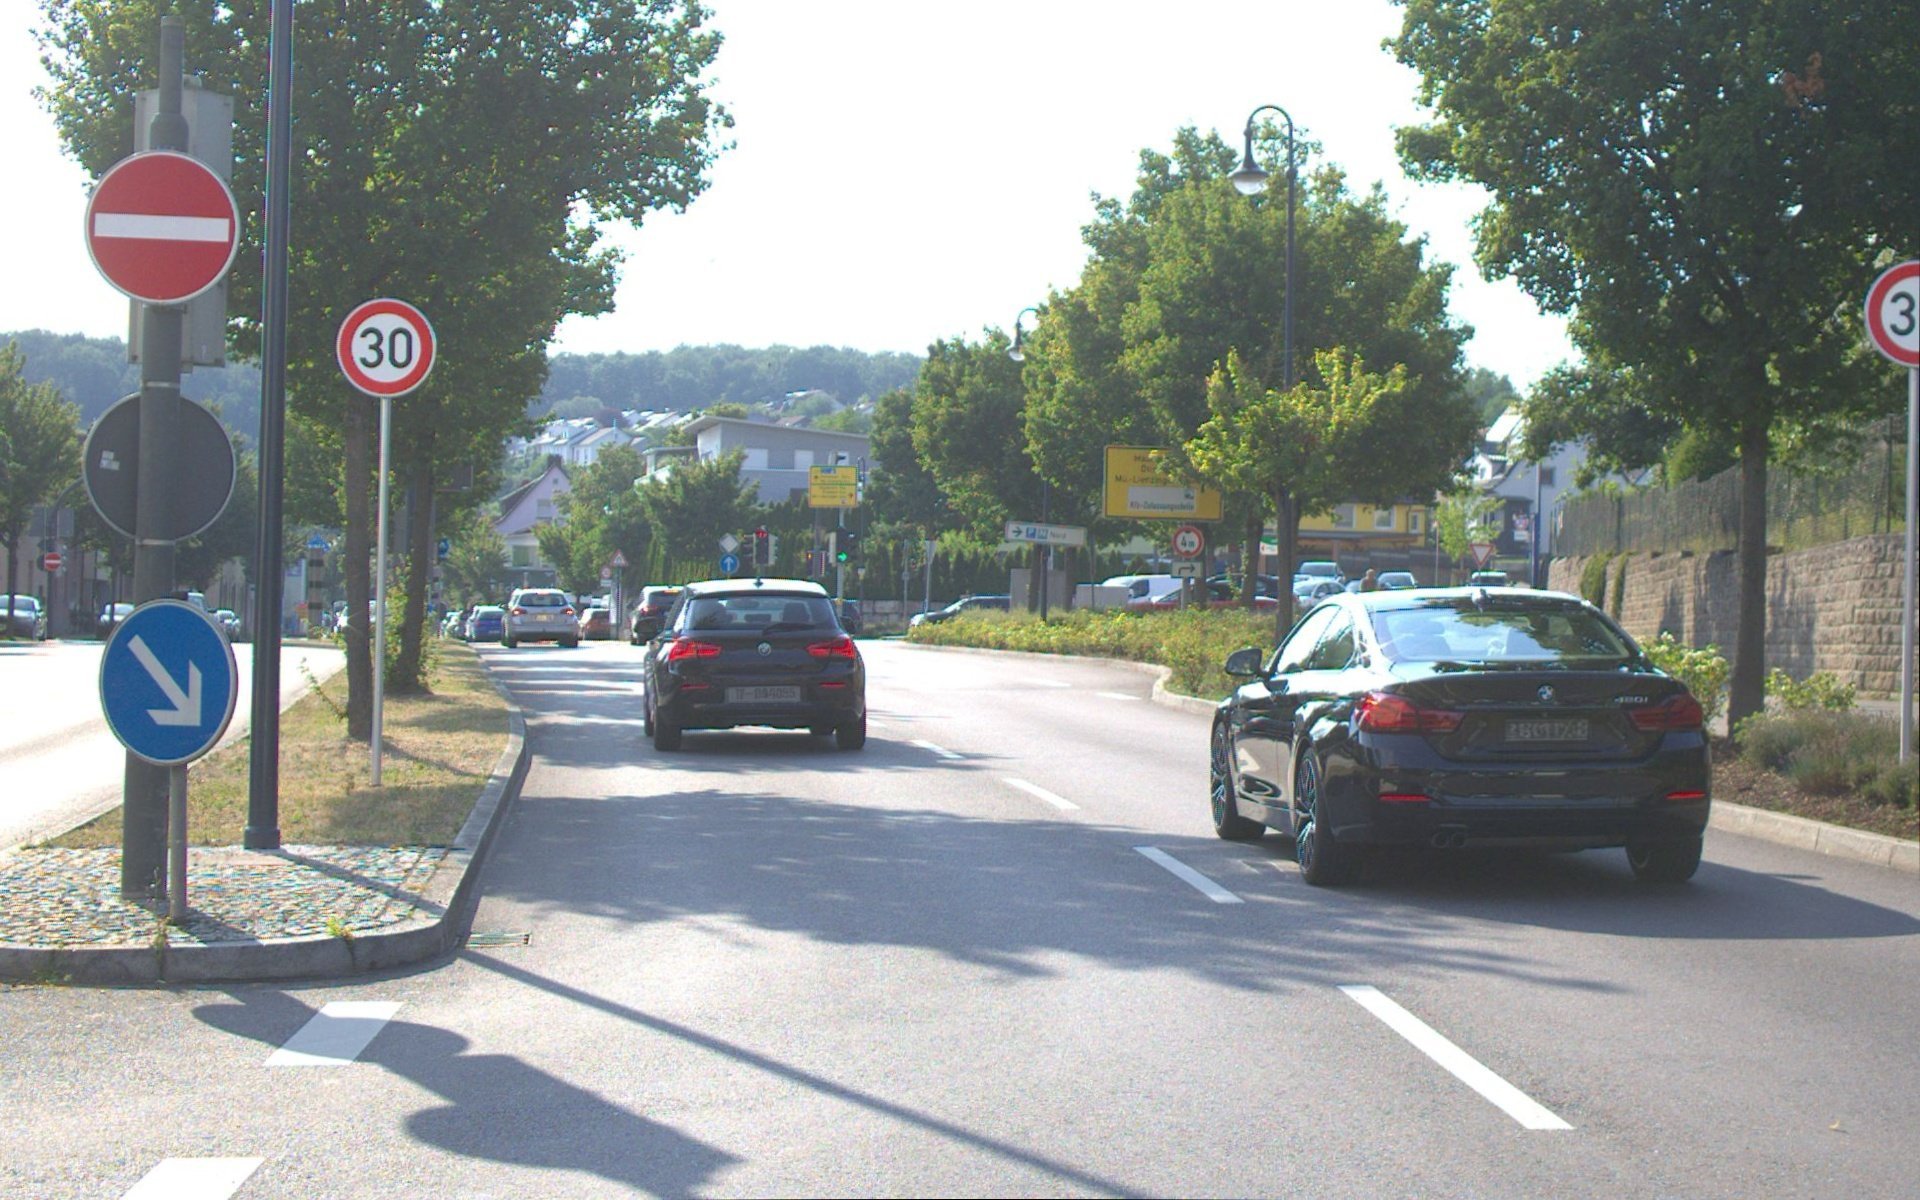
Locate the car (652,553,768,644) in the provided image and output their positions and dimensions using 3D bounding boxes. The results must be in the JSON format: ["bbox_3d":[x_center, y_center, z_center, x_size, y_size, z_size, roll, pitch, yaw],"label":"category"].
[{"bbox_3d":[-4.999,-0.038,68.262,1.924,1.763,4.455,0,0,-9],"label":"car"}]

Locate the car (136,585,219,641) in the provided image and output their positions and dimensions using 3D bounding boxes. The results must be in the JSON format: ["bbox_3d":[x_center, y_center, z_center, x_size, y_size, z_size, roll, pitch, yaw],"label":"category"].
[{"bbox_3d":[-19.312,0.301,84.964,1.755,1.356,4.486,0,0,-10],"label":"car"}]

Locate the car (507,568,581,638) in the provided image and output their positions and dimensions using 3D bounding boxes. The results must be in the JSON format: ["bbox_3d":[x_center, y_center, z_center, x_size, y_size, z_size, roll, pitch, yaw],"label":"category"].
[{"bbox_3d":[-10.737,0.074,88.516,1.755,1.763,3.972,0,0,-9],"label":"car"}]

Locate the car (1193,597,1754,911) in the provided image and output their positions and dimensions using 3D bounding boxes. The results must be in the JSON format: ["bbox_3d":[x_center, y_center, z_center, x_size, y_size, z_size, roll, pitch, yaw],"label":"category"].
[{"bbox_3d":[2.381,0.668,17.117,1.920,1.359,4.353,0,0,-3],"label":"car"}]

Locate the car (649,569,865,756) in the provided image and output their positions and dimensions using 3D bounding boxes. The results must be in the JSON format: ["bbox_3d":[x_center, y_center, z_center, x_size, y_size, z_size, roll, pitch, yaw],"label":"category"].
[{"bbox_3d":[-1.699,0.493,29.929,1.721,1.485,4.353,1,0,-1],"label":"car"}]

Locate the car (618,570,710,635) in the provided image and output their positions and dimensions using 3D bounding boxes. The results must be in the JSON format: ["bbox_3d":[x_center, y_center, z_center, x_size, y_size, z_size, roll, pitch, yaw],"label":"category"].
[{"bbox_3d":[-8.213,0.057,95.064,2.216,1.763,4.455,0,0,-9],"label":"car"}]

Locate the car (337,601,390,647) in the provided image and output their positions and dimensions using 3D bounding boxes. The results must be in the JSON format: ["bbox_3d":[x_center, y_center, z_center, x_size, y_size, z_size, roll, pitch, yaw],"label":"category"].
[{"bbox_3d":[-22.294,0.878,128.563,1.729,1.673,4.001,0,0,-7],"label":"car"}]

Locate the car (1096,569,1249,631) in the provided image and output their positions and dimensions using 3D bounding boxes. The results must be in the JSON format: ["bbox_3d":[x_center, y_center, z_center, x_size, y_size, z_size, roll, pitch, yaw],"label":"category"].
[{"bbox_3d":[7.514,-0.002,121.343,5.108,2.123,2.146,0,0,-33],"label":"car"}]

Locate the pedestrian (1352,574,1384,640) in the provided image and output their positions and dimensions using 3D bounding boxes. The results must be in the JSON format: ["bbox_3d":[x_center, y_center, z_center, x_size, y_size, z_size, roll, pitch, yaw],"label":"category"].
[{"bbox_3d":[10.480,0.170,88.305,0.695,1.697,0.950,0,0,0],"label":"pedestrian"}]

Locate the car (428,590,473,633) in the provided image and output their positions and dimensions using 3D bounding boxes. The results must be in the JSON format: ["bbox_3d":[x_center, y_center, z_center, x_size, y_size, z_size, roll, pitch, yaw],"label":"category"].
[{"bbox_3d":[-23.897,0.525,161.270,1.772,2.007,4.001,0,0,-4],"label":"car"}]
